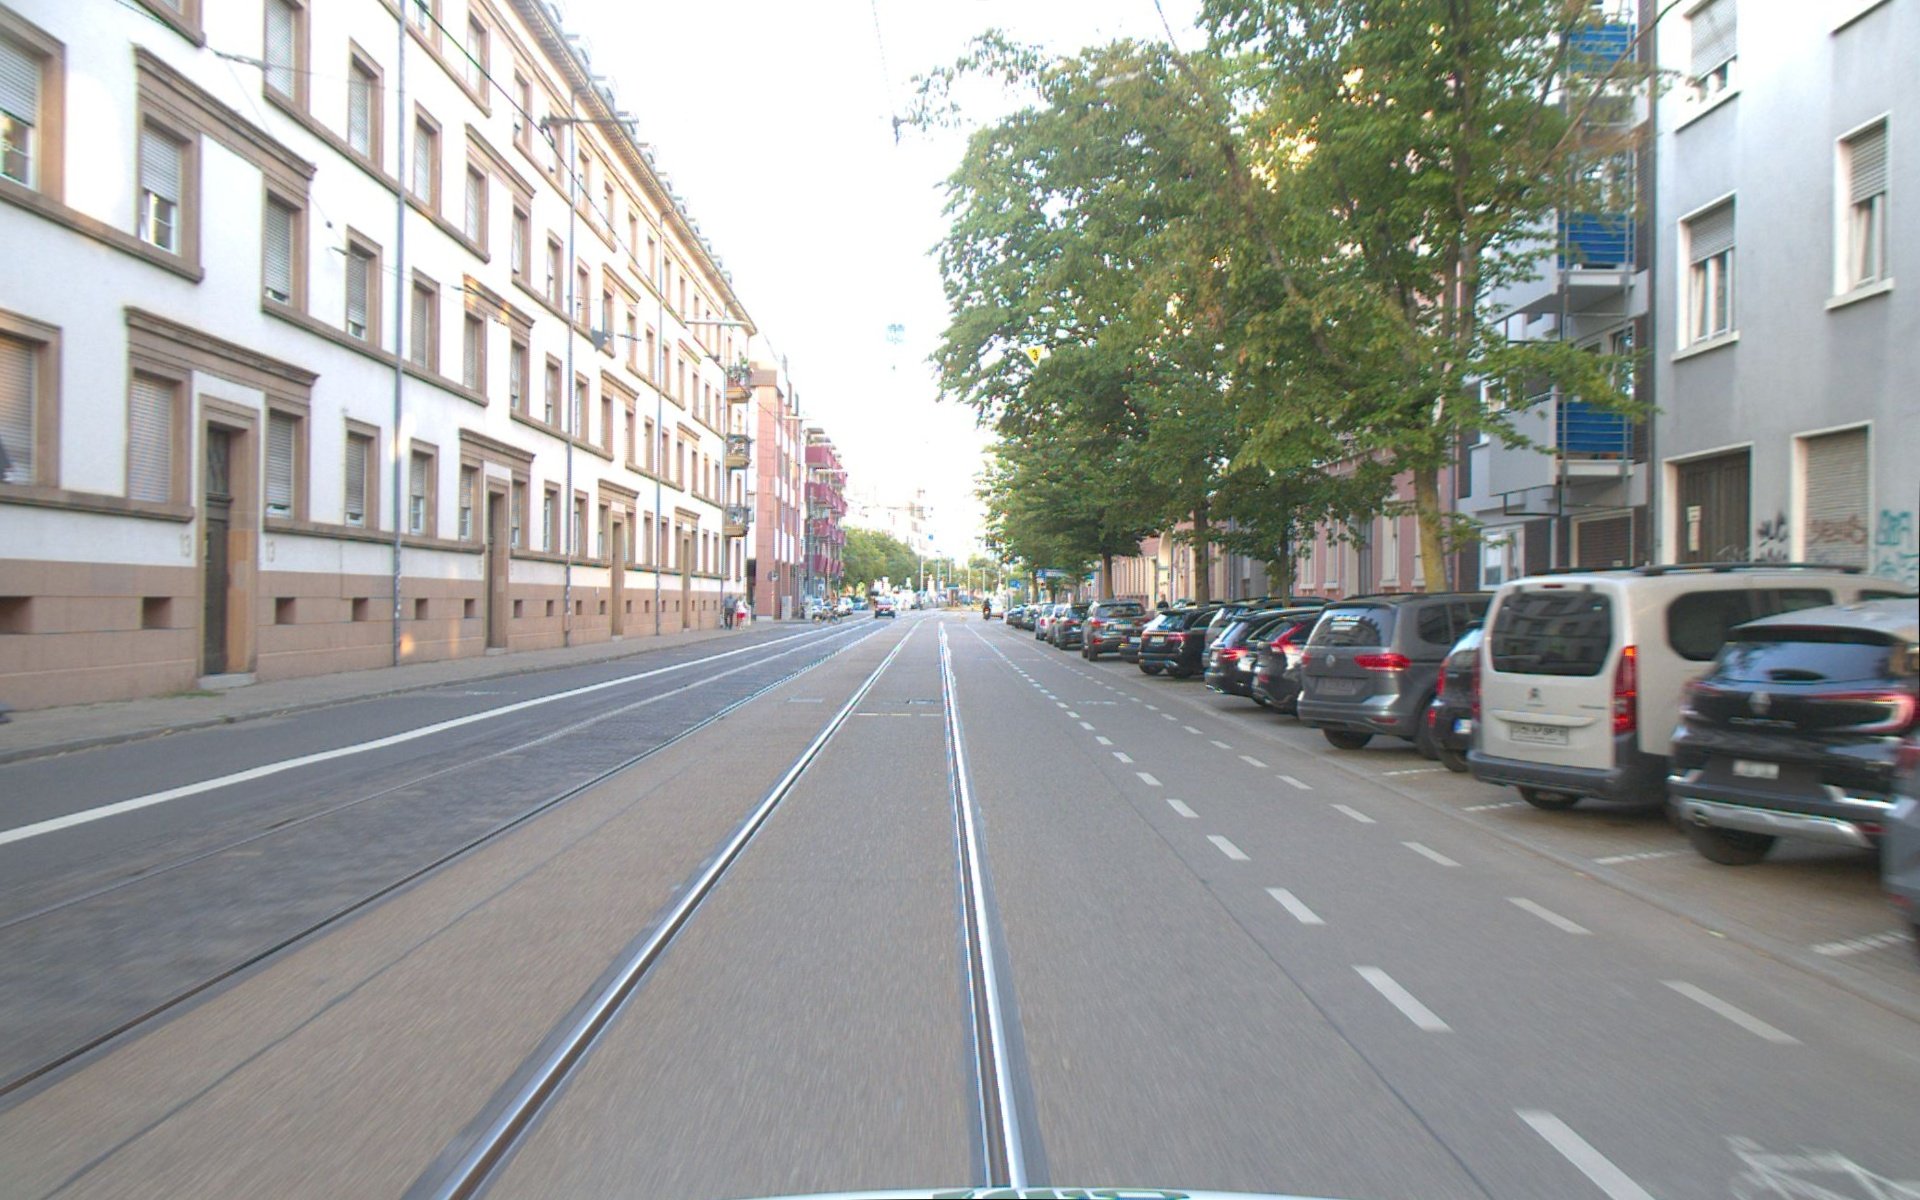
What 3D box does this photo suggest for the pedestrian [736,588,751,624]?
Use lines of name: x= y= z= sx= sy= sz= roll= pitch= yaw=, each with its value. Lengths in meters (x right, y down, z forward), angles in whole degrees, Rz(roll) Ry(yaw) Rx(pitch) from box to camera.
pedestrian: x=-9.919 y=0.279 z=75.731 sx=0.579 sy=1.638 sz=0.811 roll=0 pitch=0 yaw=-3

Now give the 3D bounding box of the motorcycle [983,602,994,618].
motorcycle: x=2.284 y=0.803 z=132.799 sx=0.811 sy=1.261 sz=2.492 roll=0 pitch=0 yaw=3

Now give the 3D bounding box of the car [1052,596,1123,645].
car: x=4.165 y=0.657 z=54.814 sx=1.953 sy=1.515 sz=5.035 roll=0 pitch=0 yaw=0

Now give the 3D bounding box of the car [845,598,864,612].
car: x=-13.964 y=0.633 z=218.165 sx=1.647 sy=1.729 sz=4.242 roll=0 pitch=0 yaw=8

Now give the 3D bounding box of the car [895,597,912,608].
car: x=-7.680 y=0.310 z=224.568 sx=1.647 sy=1.464 sz=4.129 roll=0 pitch=0 yaw=6

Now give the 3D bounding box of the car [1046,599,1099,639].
car: x=4.202 y=0.693 z=62.216 sx=1.743 sy=1.405 sz=4.691 roll=-1 pitch=0 yaw=1

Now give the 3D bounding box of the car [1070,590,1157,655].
car: x=4.170 y=0.594 z=45.495 sx=1.841 sy=1.646 sz=4.261 roll=-2 pitch=0 yaw=-1

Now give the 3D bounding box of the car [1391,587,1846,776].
car: x=6.180 y=0.680 z=15.538 sx=3.932 sy=1.594 sz=1.708 roll=0 pitch=0 yaw=-23

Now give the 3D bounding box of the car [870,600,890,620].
car: x=-6.421 y=0.800 z=133.431 sx=1.528 sy=1.585 sz=3.753 roll=-1 pitch=0 yaw=-2

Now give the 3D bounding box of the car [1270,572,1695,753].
car: x=5.556 y=0.584 z=17.624 sx=4.120 sy=1.726 sz=1.835 roll=-1 pitch=0 yaw=-22

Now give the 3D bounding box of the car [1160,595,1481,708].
car: x=5.218 y=0.693 z=23.983 sx=4.310 sy=1.489 sz=1.711 roll=-1 pitch=0 yaw=-19

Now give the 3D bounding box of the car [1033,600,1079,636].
car: x=3.882 y=0.711 z=67.623 sx=1.586 sy=1.405 sz=3.775 roll=-1 pitch=0 yaw=-1

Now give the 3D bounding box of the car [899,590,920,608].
car: x=-7.026 y=-0.163 z=230.343 sx=2.409 sy=2.526 sz=5.810 roll=0 pitch=0 yaw=3

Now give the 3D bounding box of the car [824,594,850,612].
car: x=-10.541 y=0.280 z=141.856 sx=1.656 sy=1.438 sz=4.677 roll=2 pitch=0 yaw=2

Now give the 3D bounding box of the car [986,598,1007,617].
car: x=3.127 y=0.614 z=142.716 sx=1.681 sy=1.583 sz=4.204 roll=1 pitch=0 yaw=1

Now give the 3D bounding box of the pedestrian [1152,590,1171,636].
pedestrian: x=8.107 y=0.508 z=66.448 sx=0.666 sy=1.848 sz=0.600 roll=1 pitch=0 yaw=0

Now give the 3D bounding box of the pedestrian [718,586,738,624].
pedestrian: x=-10.634 y=0.237 z=75.831 sx=0.779 sy=1.731 sz=0.981 roll=0 pitch=0 yaw=-3

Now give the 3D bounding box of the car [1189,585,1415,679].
car: x=6.465 y=0.565 z=31.289 sx=3.932 sy=1.621 sz=1.708 roll=-1 pitch=1 yaw=-22

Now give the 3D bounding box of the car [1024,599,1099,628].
car: x=5.240 y=0.690 z=85.295 sx=3.512 sy=1.454 sz=1.655 roll=-1 pitch=0 yaw=-26

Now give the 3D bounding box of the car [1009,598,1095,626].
car: x=5.172 y=0.661 z=93.135 sx=4.386 sy=1.543 sz=2.048 roll=-1 pitch=0 yaw=-24

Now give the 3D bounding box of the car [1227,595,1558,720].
car: x=5.653 y=0.699 z=21.693 sx=3.926 sy=1.489 sz=1.711 roll=-1 pitch=0 yaw=-19

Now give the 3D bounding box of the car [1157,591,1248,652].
car: x=6.640 y=0.561 z=45.640 sx=1.841 sy=1.612 sz=4.019 roll=0 pitch=0 yaw=-1

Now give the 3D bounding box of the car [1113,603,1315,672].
car: x=5.531 y=0.791 z=35.930 sx=4.198 sy=1.412 sz=1.607 roll=1 pitch=0 yaw=-27

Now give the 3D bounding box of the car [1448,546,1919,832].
car: x=5.843 y=0.548 z=12.425 sx=3.932 sy=1.847 sz=1.812 roll=-1 pitch=1 yaw=-22

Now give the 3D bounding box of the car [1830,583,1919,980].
car: x=5.779 y=0.735 z=6.784 sx=3.928 sy=1.567 sz=1.769 roll=1 pitch=0 yaw=-20

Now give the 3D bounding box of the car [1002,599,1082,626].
car: x=4.914 y=0.718 z=99.089 sx=4.547 sy=1.482 sz=1.697 roll=-1 pitch=0 yaw=-26

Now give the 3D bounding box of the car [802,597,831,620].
car: x=-10.550 y=0.603 z=121.752 sx=1.682 sy=1.583 sz=4.203 roll=2 pitch=0 yaw=0

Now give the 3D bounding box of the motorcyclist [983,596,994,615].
motorcyclist: x=2.294 y=0.453 z=132.859 sx=0.811 sy=1.499 sz=1.207 roll=0 pitch=0 yaw=3

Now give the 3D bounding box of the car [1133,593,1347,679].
car: x=5.579 y=0.678 z=33.017 sx=3.900 sy=1.580 sz=1.711 roll=-1 pitch=1 yaw=-19

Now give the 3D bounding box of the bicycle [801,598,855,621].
bicycle: x=-7.872 y=0.565 z=98.642 sx=3.112 sy=1.378 sz=0.955 roll=0 pitch=0 yaw=-9

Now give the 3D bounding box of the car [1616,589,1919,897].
car: x=6.148 y=0.751 z=10.096 sx=3.932 sy=1.594 sz=1.708 roll=1 pitch=0 yaw=-23

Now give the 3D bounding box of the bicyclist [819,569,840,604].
bicyclist: x=-7.789 y=-0.825 z=98.655 sx=1.191 sy=2.049 sz=0.945 roll=1 pitch=0 yaw=-9
